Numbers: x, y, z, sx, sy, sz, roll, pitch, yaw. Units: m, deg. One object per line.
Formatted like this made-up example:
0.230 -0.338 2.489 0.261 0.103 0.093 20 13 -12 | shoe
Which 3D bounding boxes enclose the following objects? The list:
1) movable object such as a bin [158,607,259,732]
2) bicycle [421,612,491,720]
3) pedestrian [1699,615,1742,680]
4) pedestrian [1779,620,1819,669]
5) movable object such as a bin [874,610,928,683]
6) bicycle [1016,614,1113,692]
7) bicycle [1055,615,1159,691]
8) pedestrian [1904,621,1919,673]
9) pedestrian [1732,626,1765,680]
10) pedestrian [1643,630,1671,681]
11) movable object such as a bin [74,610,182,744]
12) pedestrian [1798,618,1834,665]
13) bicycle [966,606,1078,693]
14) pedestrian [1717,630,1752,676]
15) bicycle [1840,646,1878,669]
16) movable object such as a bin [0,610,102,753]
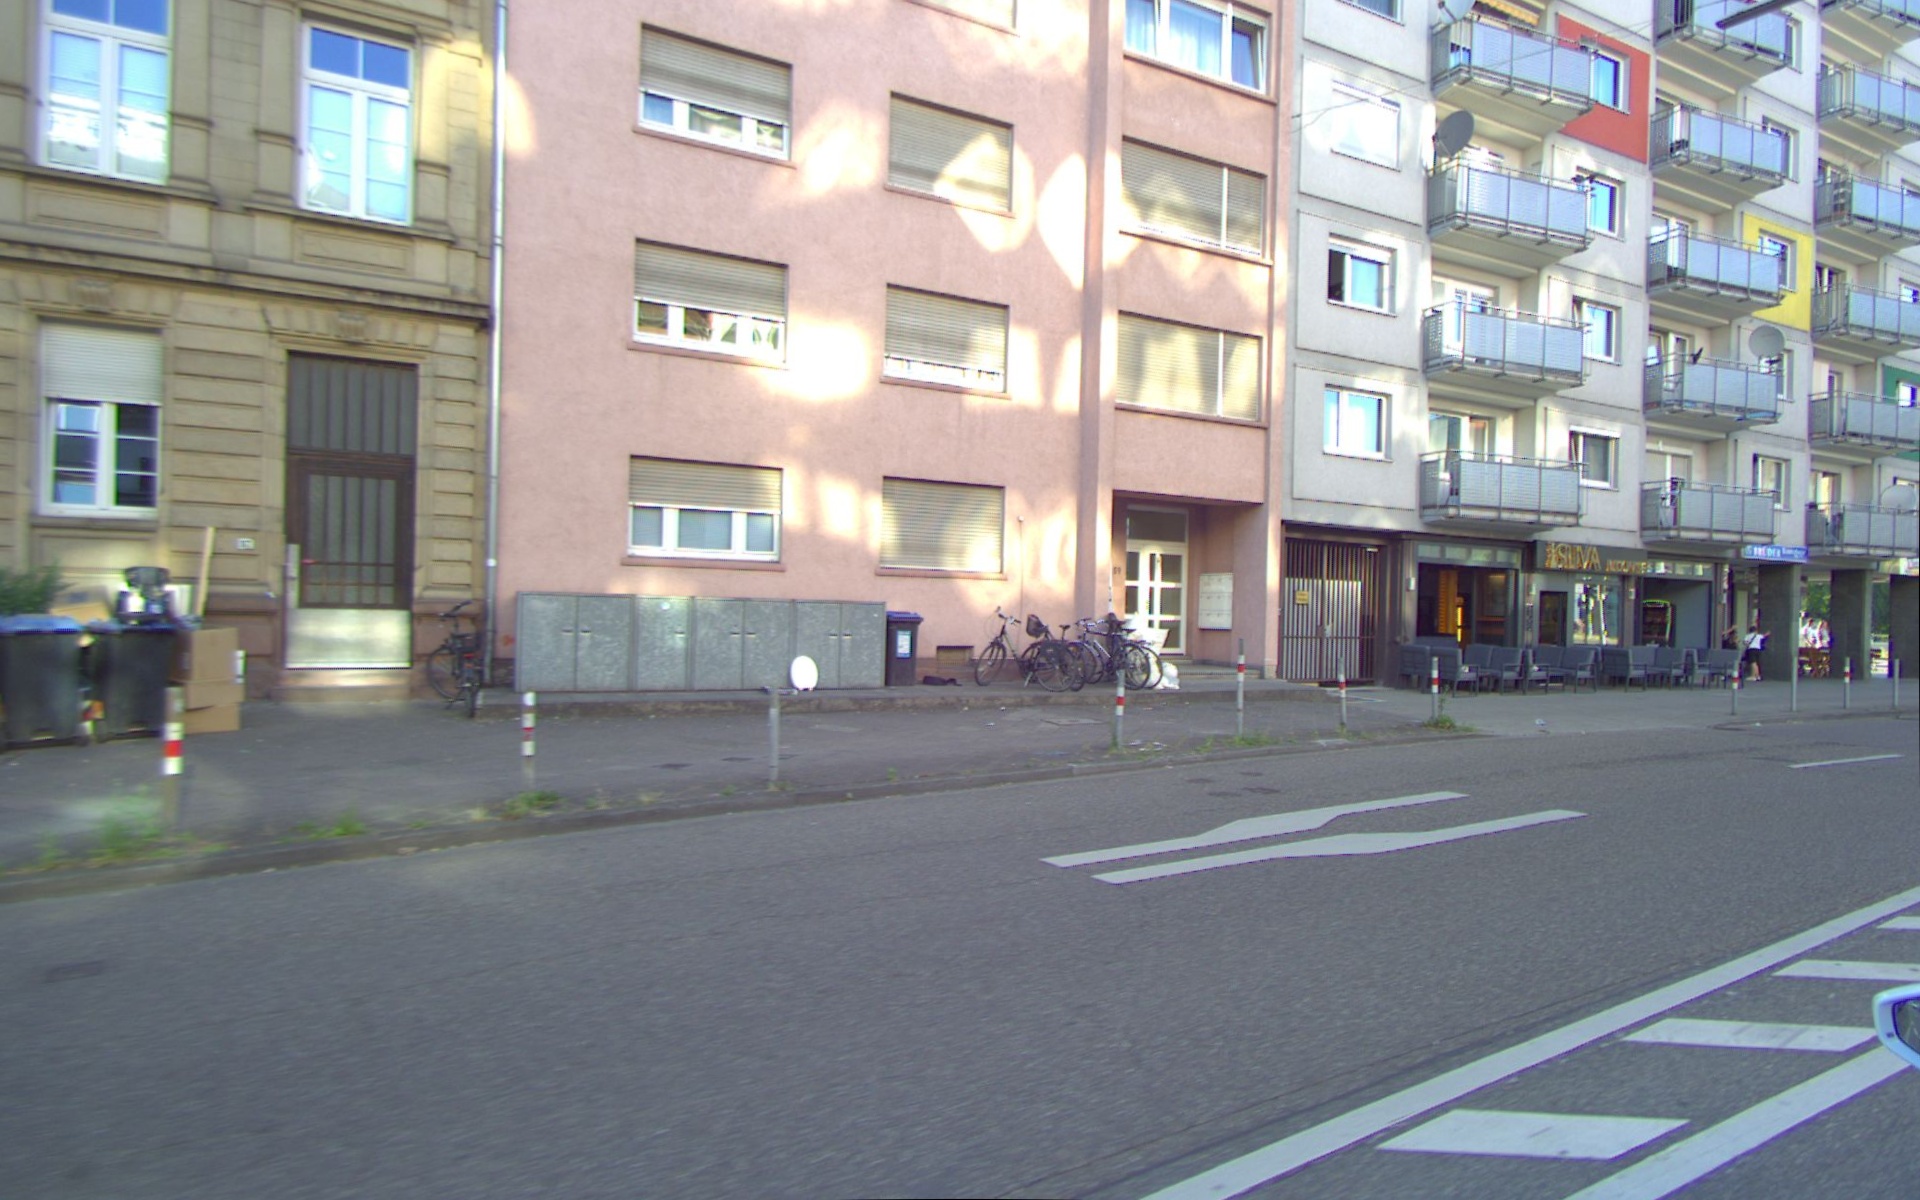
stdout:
-7.299 0.651 9.756 0.631 1.126 0.582 4 1 34 | movable object such as a bin
-5.838 0.728 11.653 0.654 0.980 1.642 1 5 -27 | bicycle
20.486 1.266 27.063 0.764 1.723 0.560 1 0 18 | pedestrian
30.941 1.626 37.051 0.663 1.782 0.922 1 0 -17 | pedestrian
-0.887 0.688 14.970 0.581 1.045 0.673 1 0 -26 | movable object such as a bin
1.572 0.785 15.415 0.543 1.054 1.660 2 1 -32 | bicycle
2.289 0.807 15.811 0.545 1.054 1.656 2 1 -39 | bicycle
34.004 1.666 35.669 0.463 1.792 0.551 1 0 -24 | pedestrian
21.226 1.417 27.034 0.472 1.402 0.484 1 0 -5 | pedestrian
17.343 1.373 24.997 0.514 1.219 0.551 1 0 33 | pedestrian
-7.578 0.678 9.150 0.631 1.126 0.582 4 1 34 | movable object such as a bin
31.796 1.540 37.303 0.663 1.731 0.753 1 0 -17 | pedestrian
0.901 0.713 14.975 1.649 1.175 0.494 3 1 39 | bicycle
22.005 1.507 28.539 0.521 1.256 0.557 1 0 -11 | pedestrian
34.196 2.180 38.192 1.681 0.851 0.494 2 0 -27 | bicycle
-7.841 0.670 8.601 0.631 1.126 0.582 4 1 34 | movable object such as a bin
